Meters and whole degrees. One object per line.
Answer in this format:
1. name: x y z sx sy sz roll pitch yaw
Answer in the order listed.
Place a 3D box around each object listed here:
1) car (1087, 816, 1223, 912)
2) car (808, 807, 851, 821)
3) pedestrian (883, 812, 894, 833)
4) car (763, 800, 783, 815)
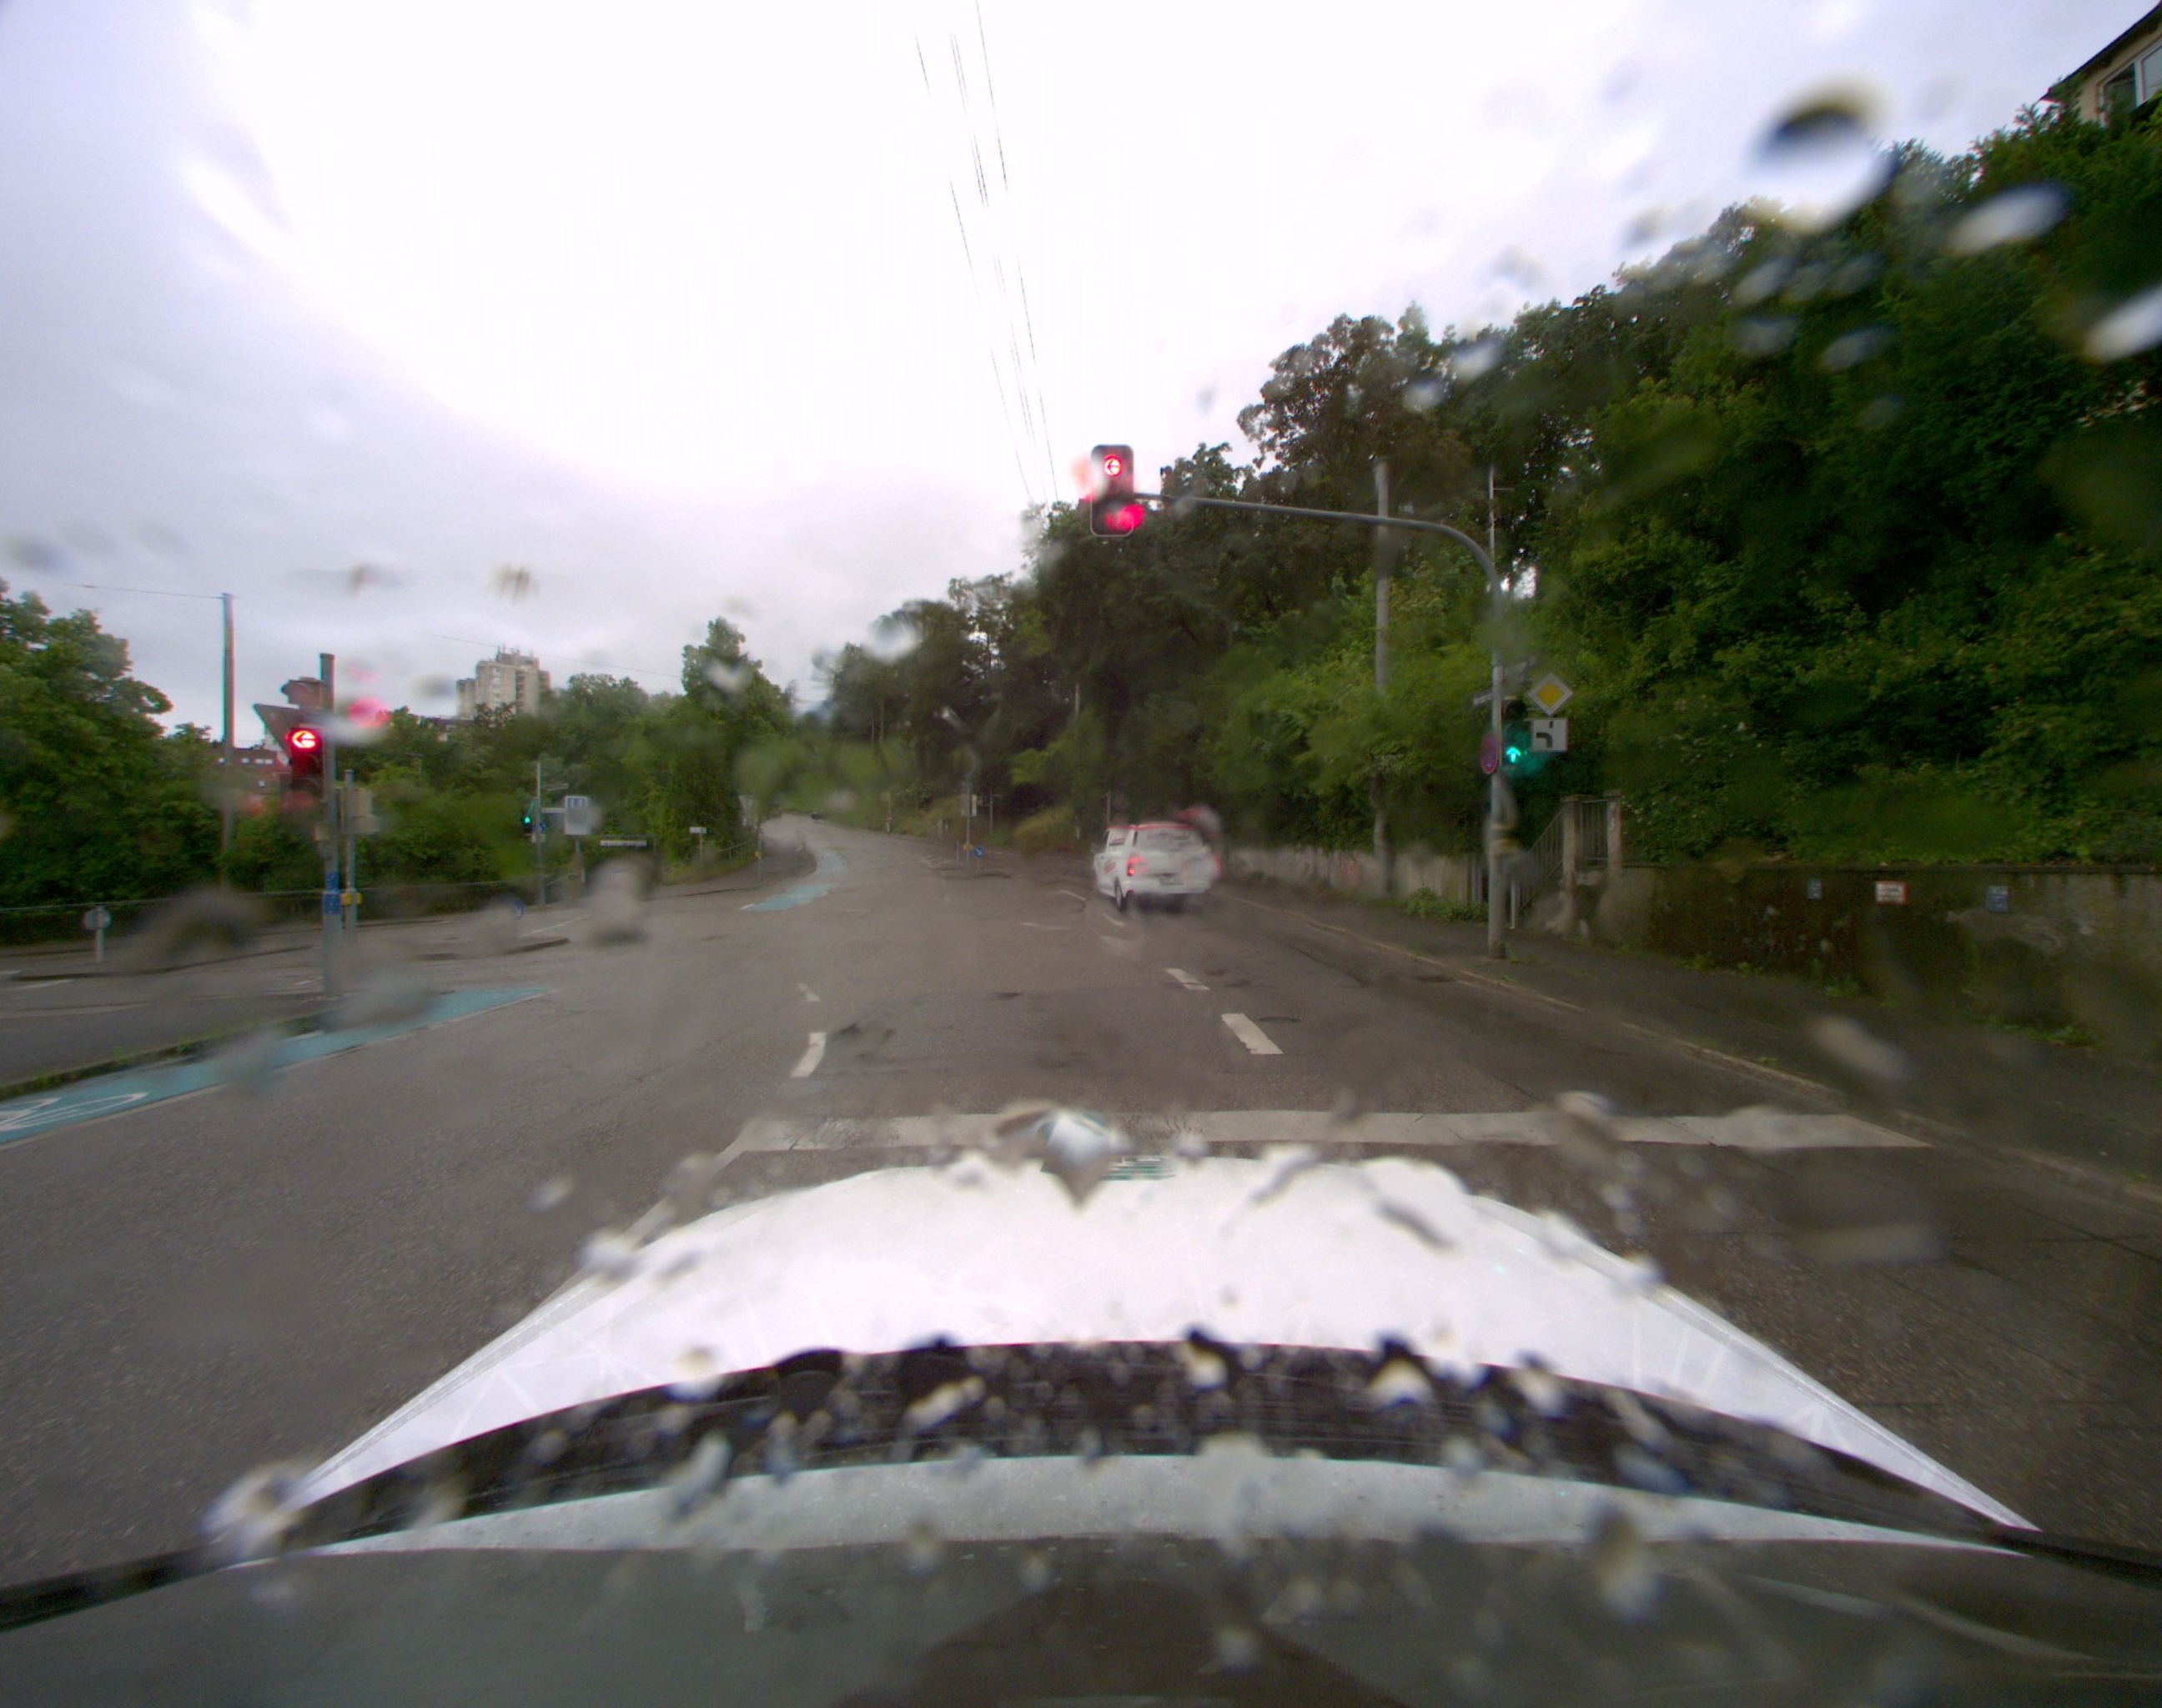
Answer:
1. car: 1.616 0.165 19.714 2.066 2.006 4.798 -1 1 -10
2. car: -29.475 -4.704 95.587 4.359 1.511 1.971 1 3 14
3. pedestrian: -15.996 -2.603 67.601 0.883 1.736 0.860 -1 -1 -17
4. car: -38.186 -5.769 100.827 1.929 1.780 3.965 0 2 -27
